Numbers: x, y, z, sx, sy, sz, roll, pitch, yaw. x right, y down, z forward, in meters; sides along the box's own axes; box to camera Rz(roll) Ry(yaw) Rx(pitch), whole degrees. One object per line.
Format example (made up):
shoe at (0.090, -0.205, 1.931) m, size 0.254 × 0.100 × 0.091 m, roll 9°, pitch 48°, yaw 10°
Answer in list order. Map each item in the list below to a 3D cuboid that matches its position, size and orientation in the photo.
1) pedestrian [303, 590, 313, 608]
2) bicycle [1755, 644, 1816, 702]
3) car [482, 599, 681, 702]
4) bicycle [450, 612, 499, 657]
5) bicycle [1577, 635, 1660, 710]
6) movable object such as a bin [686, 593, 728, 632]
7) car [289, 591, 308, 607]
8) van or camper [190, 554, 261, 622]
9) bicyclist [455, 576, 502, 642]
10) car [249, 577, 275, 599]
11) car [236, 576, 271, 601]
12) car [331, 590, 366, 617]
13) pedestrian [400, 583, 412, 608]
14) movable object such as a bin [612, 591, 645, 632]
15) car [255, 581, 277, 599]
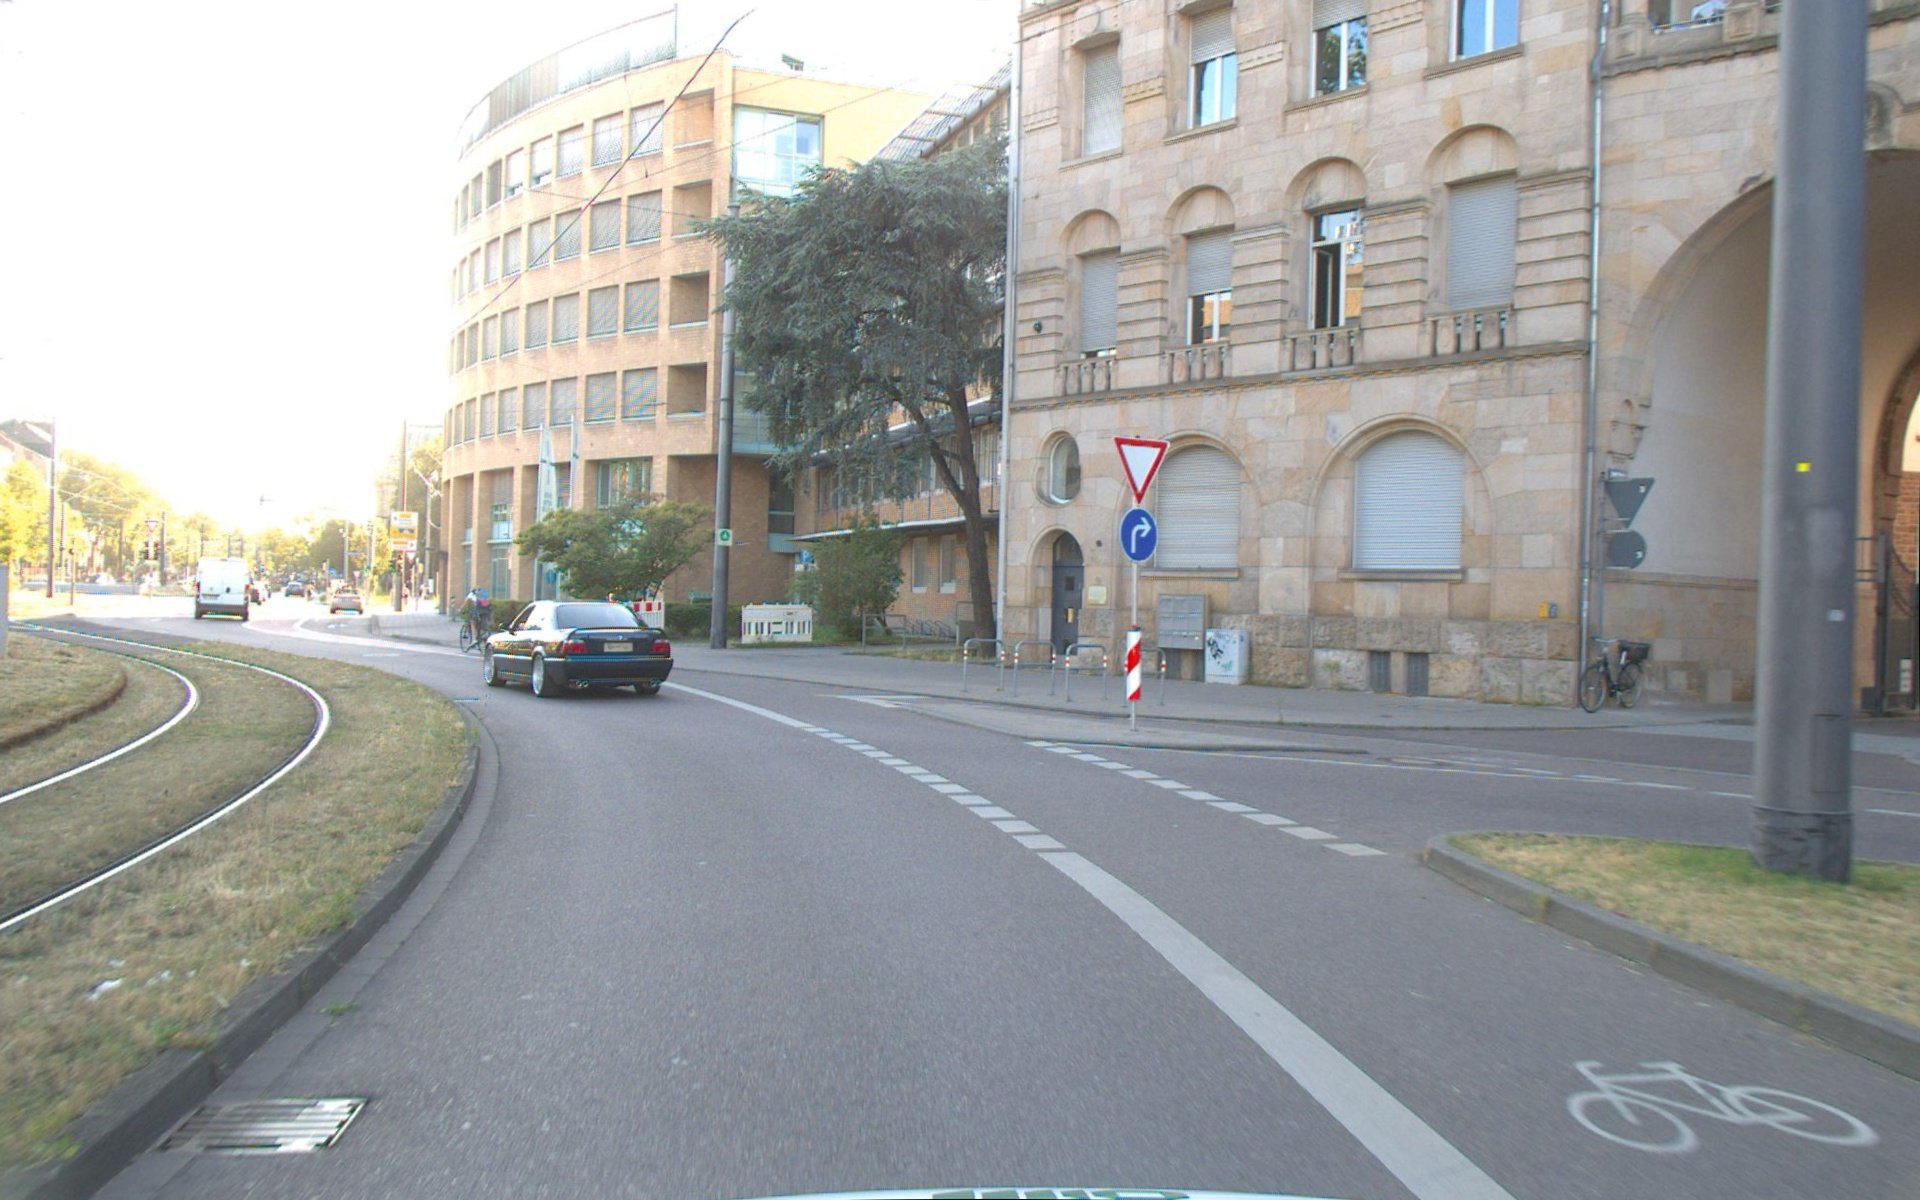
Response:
pedestrian at (-53.424, -0.092, 135.562) m, size 0.606 × 1.501 × 0.797 m, roll 1°, pitch 1°, yaw -16°
bicycle at (14.769, 1.301, 29.588) m, size 1.500 × 0.972 × 0.474 m, roll 1°, pitch 1°, yaw -43°
car at (-5.921, 0.717, 25.460) m, size 1.810 × 1.377 × 4.597 m, roll -2°, pitch 1°, yaw -28°
bicycle at (-11.559, 0.824, 39.366) m, size 0.511 × 0.971 × 1.753 m, roll 3°, pitch 0°, yaw -36°
bicycle at (10.175, 1.100, 25.523) m, size 1.841 × 1.091 × 0.422 m, roll 1°, pitch 1°, yaw -43°
movable object such as a bin at (-9.596, 0.477, 62.782) m, size 1.325 × 1.449 × 0.916 m, roll 1°, pitch 1°, yaw -28°
car at (-69.989, -0.114, 174.962) m, size 1.770 × 1.593 × 3.971 m, roll 1°, pitch 1°, yaw -24°
van or camper at (-30.375, -0.543, 68.525) m, size 2.229 × 2.670 × 4.479 m, roll 1°, pitch 1°, yaw -19°
bicyclist at (-11.418, 0.216, 39.205) m, size 0.650 × 1.509 × 1.024 m, roll 4°, pitch -2°, yaw -38°
car at (-53.734, -0.942, 127.330) m, size 1.770 × 1.593 × 3.971 m, roll 1°, pitch 1°, yaw -24°
car at (-44.495, -0.738, 104.225) m, size 1.711 × 1.410 × 3.978 m, roll 1°, pitch 1°, yaw -19°
car at (-34.589, 0.204, 93.604) m, size 1.757 × 1.377 × 4.241 m, roll 3°, pitch 0°, yaw -20°
pedestrian at (-37.039, -0.306, 110.636) m, size 0.667 × 1.597 × 0.795 m, roll 1°, pitch 1°, yaw -22°
movable object such as a bin at (-12.498, 0.432, 62.321) m, size 0.951 × 1.462 × 1.345 m, roll 1°, pitch 1°, yaw -1°
car at (-65.488, -0.986, 156.052) m, size 1.770 × 1.593 × 3.971 m, roll 1°, pitch 1°, yaw -24°
